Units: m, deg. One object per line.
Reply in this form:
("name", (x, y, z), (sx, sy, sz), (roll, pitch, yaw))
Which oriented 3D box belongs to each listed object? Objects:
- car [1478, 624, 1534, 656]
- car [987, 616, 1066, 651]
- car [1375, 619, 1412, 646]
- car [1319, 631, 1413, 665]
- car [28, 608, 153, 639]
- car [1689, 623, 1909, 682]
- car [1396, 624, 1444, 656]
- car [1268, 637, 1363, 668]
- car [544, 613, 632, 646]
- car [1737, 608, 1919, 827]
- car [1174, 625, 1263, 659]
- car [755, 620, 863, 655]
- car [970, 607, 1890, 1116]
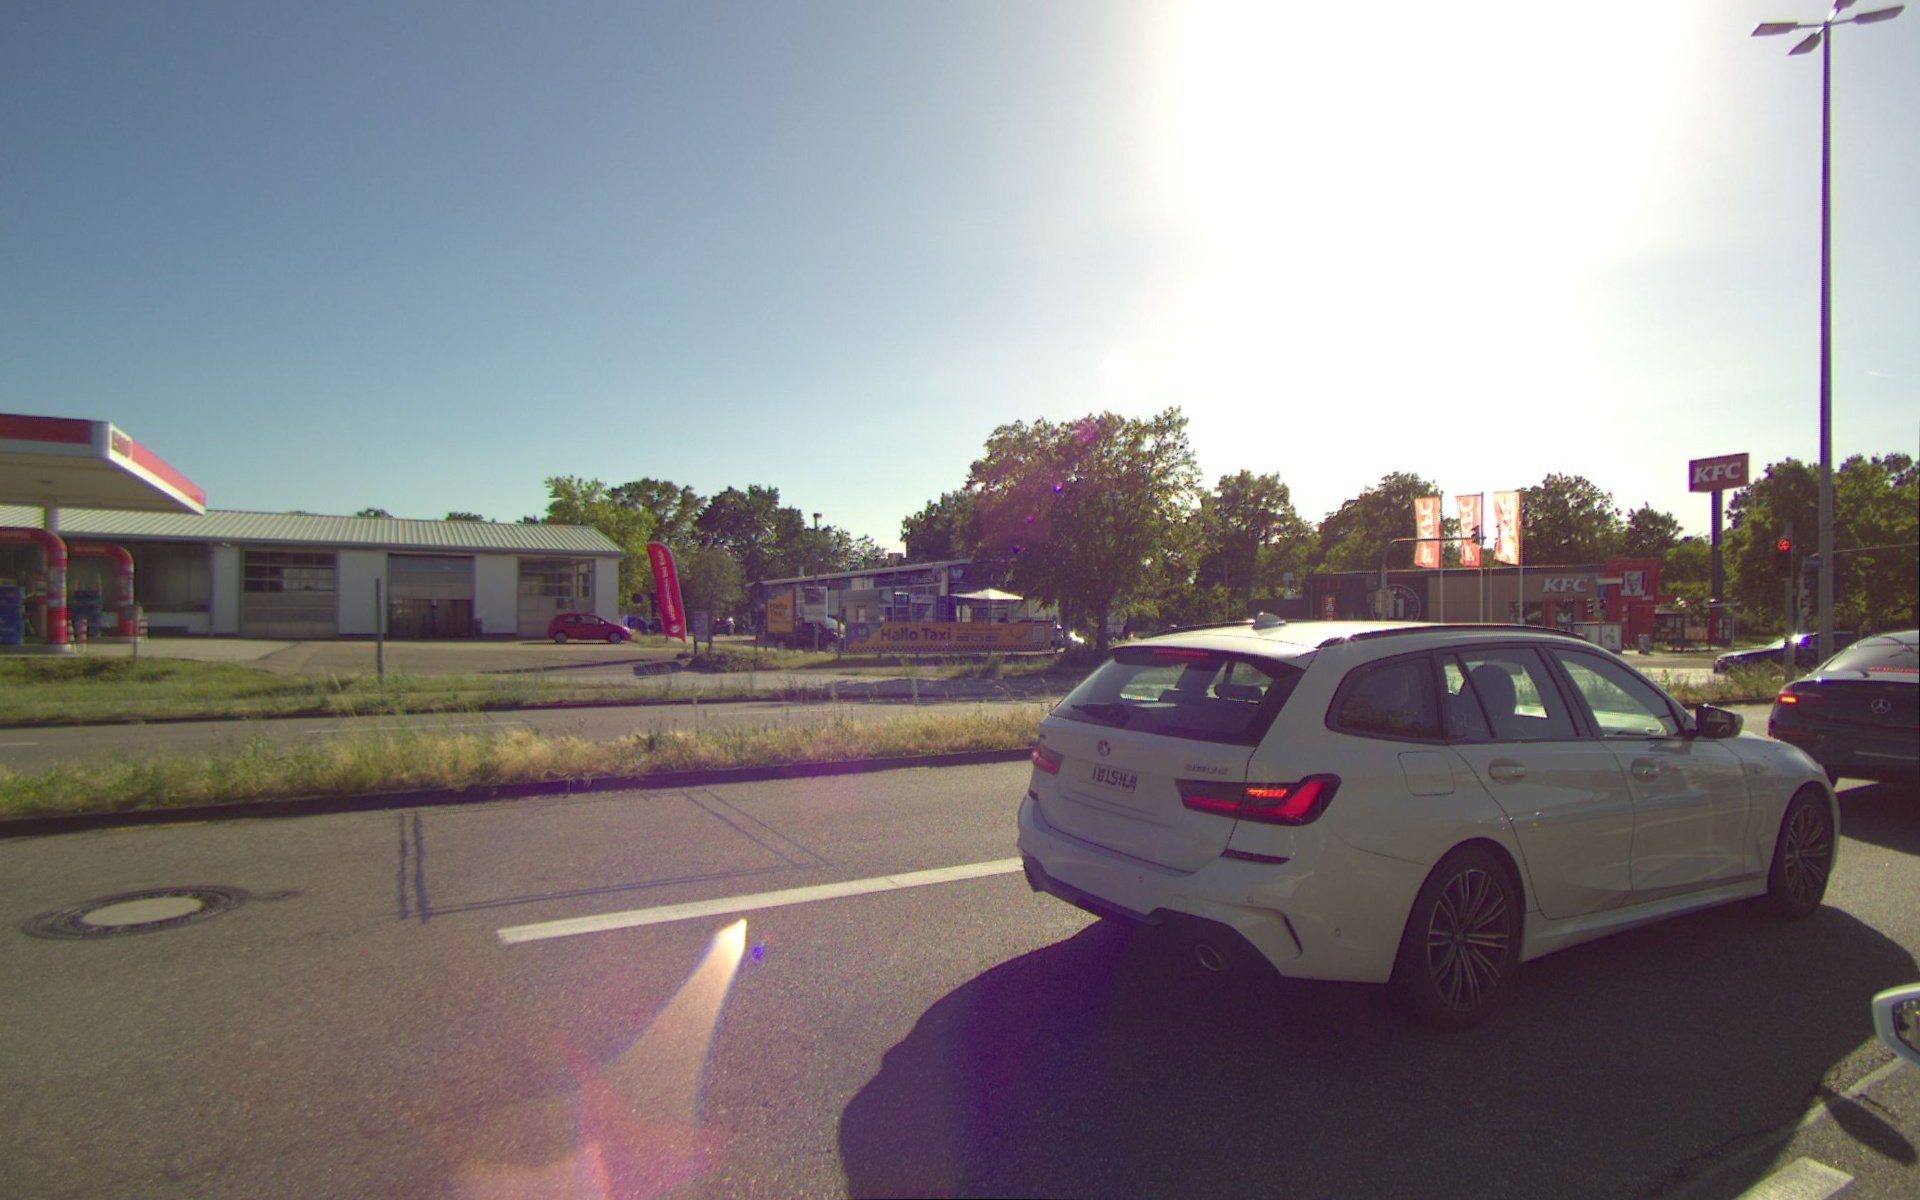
("car", (32.686, 2.348, 60.226), (1.896, 1.763, 4.099), (2, 0, 14))
("car", (3.090, 1.557, 47.487), (1.974, 1.461, 3.973), (2, 0, -27))
("car", (31.523, 2.311, 73.181), (1.960, 1.837, 3.774), (2, 0, 16))
("car", (20.103, 2.341, 49.869), (1.914, 1.472, 3.934), (2, 0, -31))
("car", (-36.360, 0.983, 42.124), (3.688, 1.203, 1.667), (2, 0, -30))
("car", (25.121, 1.537, 30.290), (4.742, 1.487, 1.757), (2, 0, 24))
("car", (28.045, 2.419, 61.377), (1.896, 1.763, 4.099), (2, 0, 14))
("car", (17.010, 2.490, 48.218), (1.850, 1.268, 4.062), (2, 0, -31))
("car", (-18.286, 1.445, 49.331), (3.949, 1.491, 1.521), (2, 0, -24))
("car", (8.760, 0.894, 8.628), (4.491, 1.572, 1.803), (1, 0, -31))
("car", (13.944, 2.245, 54.436), (1.914, 1.600, 4.599), (2, 0, -31))
("car", (-5.896, 1.426, 39.050), (3.930, 1.193, 1.774), (2, 0, 31))
("car", (2.458, 0.823, 4.914), (4.541, 1.506, 1.804), (1, -1, -30))
